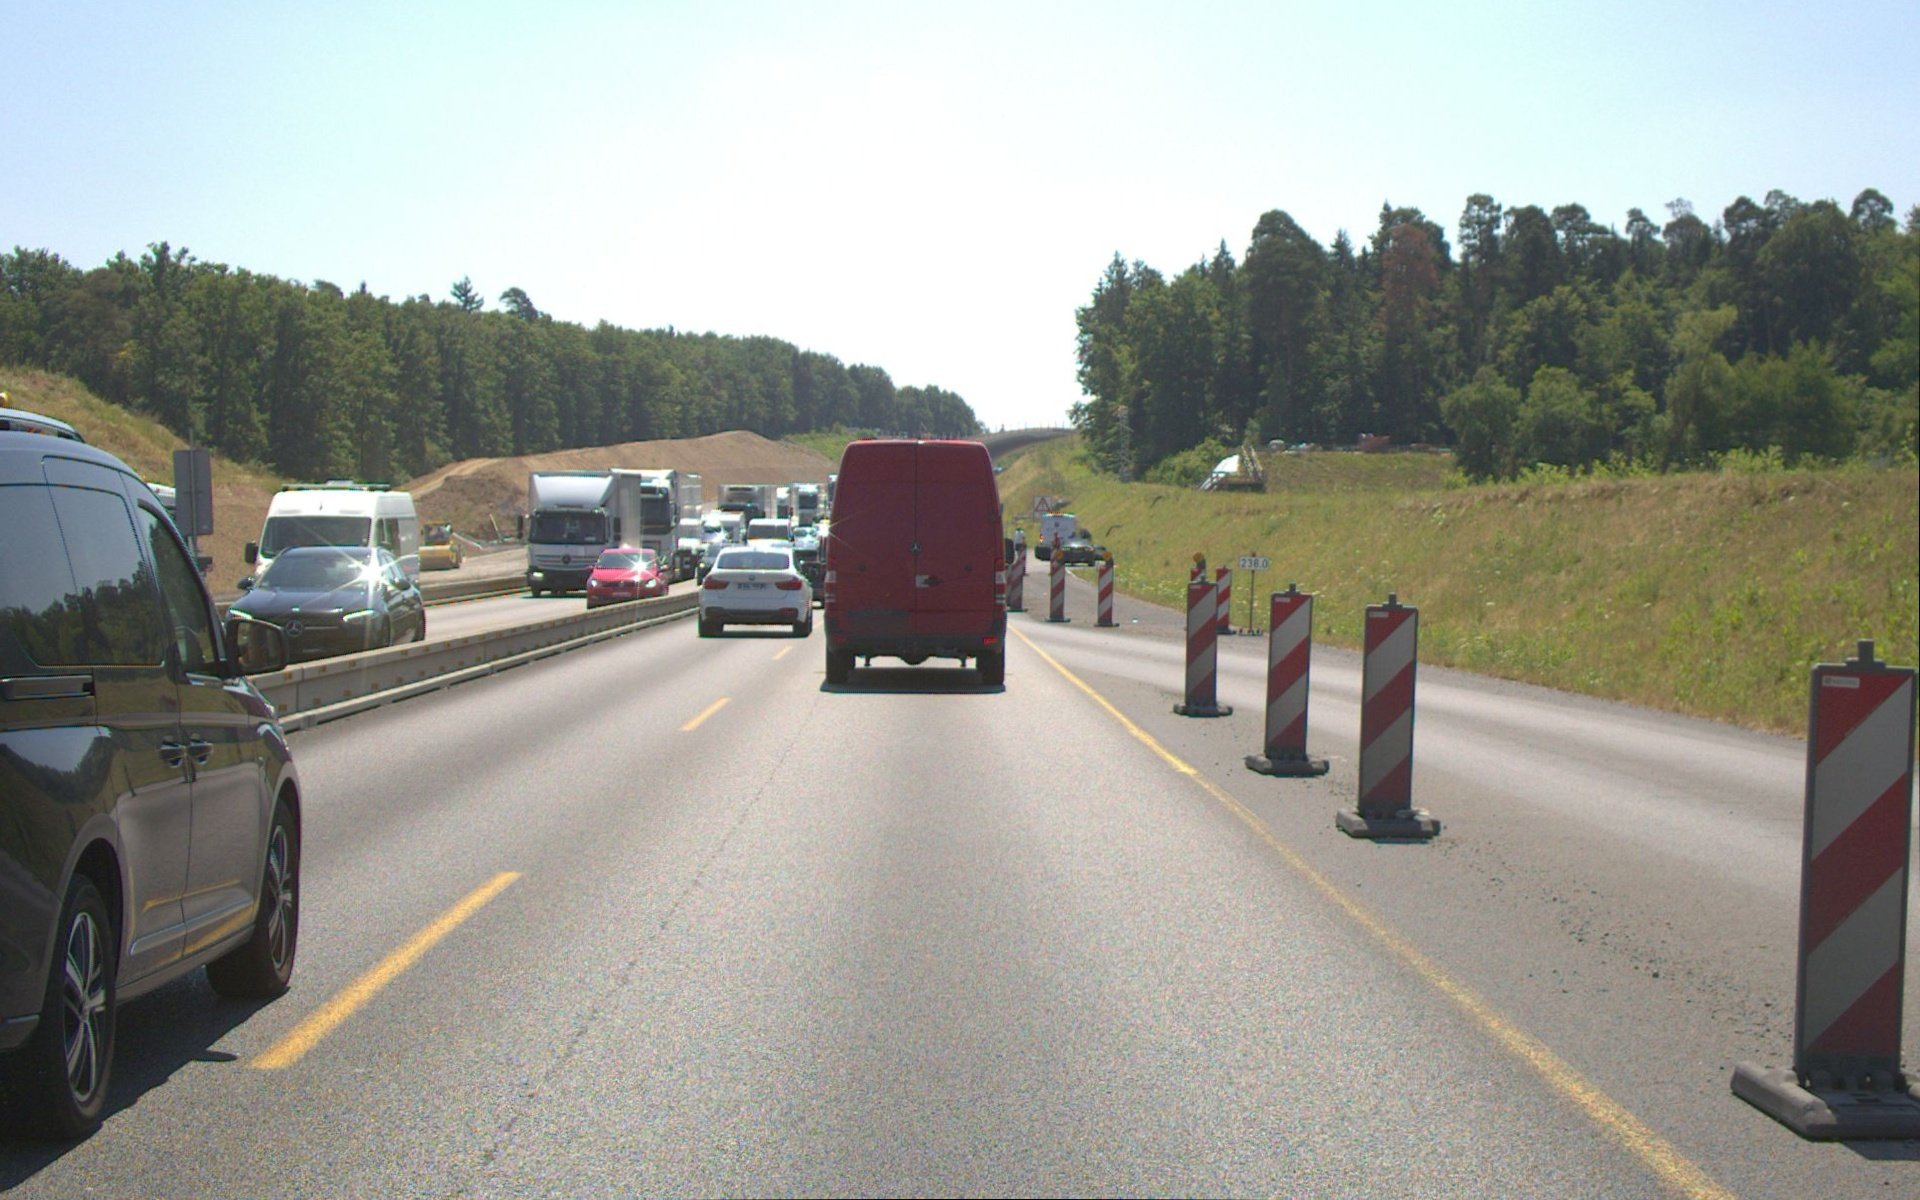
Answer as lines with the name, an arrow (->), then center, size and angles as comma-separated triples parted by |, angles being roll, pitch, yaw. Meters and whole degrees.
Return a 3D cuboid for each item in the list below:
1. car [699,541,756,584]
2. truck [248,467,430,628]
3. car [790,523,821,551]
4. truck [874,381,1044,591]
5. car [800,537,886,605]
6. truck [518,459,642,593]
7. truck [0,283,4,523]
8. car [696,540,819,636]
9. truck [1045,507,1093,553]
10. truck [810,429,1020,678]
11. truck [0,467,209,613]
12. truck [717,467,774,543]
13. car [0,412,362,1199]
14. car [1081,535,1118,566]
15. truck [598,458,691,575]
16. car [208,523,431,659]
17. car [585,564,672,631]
car -> -8.082, -1.304, 119.770 | 1.857, 1.437, 4.502 | 1, 1, -3
truck -> -10.642, -0.981, 59.376 | 2.098, 2.560, 6.355 | 2, 2, -2
car -> -9.023, -3.685, 201.186 | 1.688, 1.608, 4.594 | 1, 1, -1
truck -> -0.113, -3.090, 99.074 | 4.400, 5.477, 16.604 | 1, 1, -1
car -> -2.830, -0.732, 83.911 | 1.967, 1.536, 4.311 | 1, 1, -1
truck -> -11.098, -2.110, 101.104 | 2.644, 3.703, 9.483 | 1, 1, -1
truck -> -6.986, -0.363, 17.539 | 2.271, 3.139, 7.314 | 1, 1, -1
car -> -3.364, -0.213, 57.698 | 1.831, 1.517, 3.961 | 1, 1, -1
truck -> 6.056, -3.899, 190.049 | 2.130, 2.448, 5.924 | 1, 2, 6
truck -> -0.518, -0.516, 38.693 | 2.153, 2.581, 5.334 | 1, 1, -1
truck -> -18.935, -1.255, 73.307 | 5.047, 2.954, 2.586 | 1, 0, -41
truck -> -11.990, -5.294, 192.426 | 2.491, 4.184, 5.911 | -1, 1, 2
car -> -3.015, 0.416, 9.970 | 1.751, 1.818, 4.783 | 1, 1, -1
car -> 6.975, -2.481, 172.081 | 1.654, 1.422, 4.545 | -2, 2, 0
truck -> -11.102, -2.902, 121.354 | 2.848, 4.004, 4.859 | -1, 0, -1
car -> -7.454, -0.121, 40.388 | 1.788, 1.477, 4.561 | 1, 1, -1
car -> -7.602, -0.072, 79.045 | 1.627, 1.479, 4.054 | 1, 1, -1
